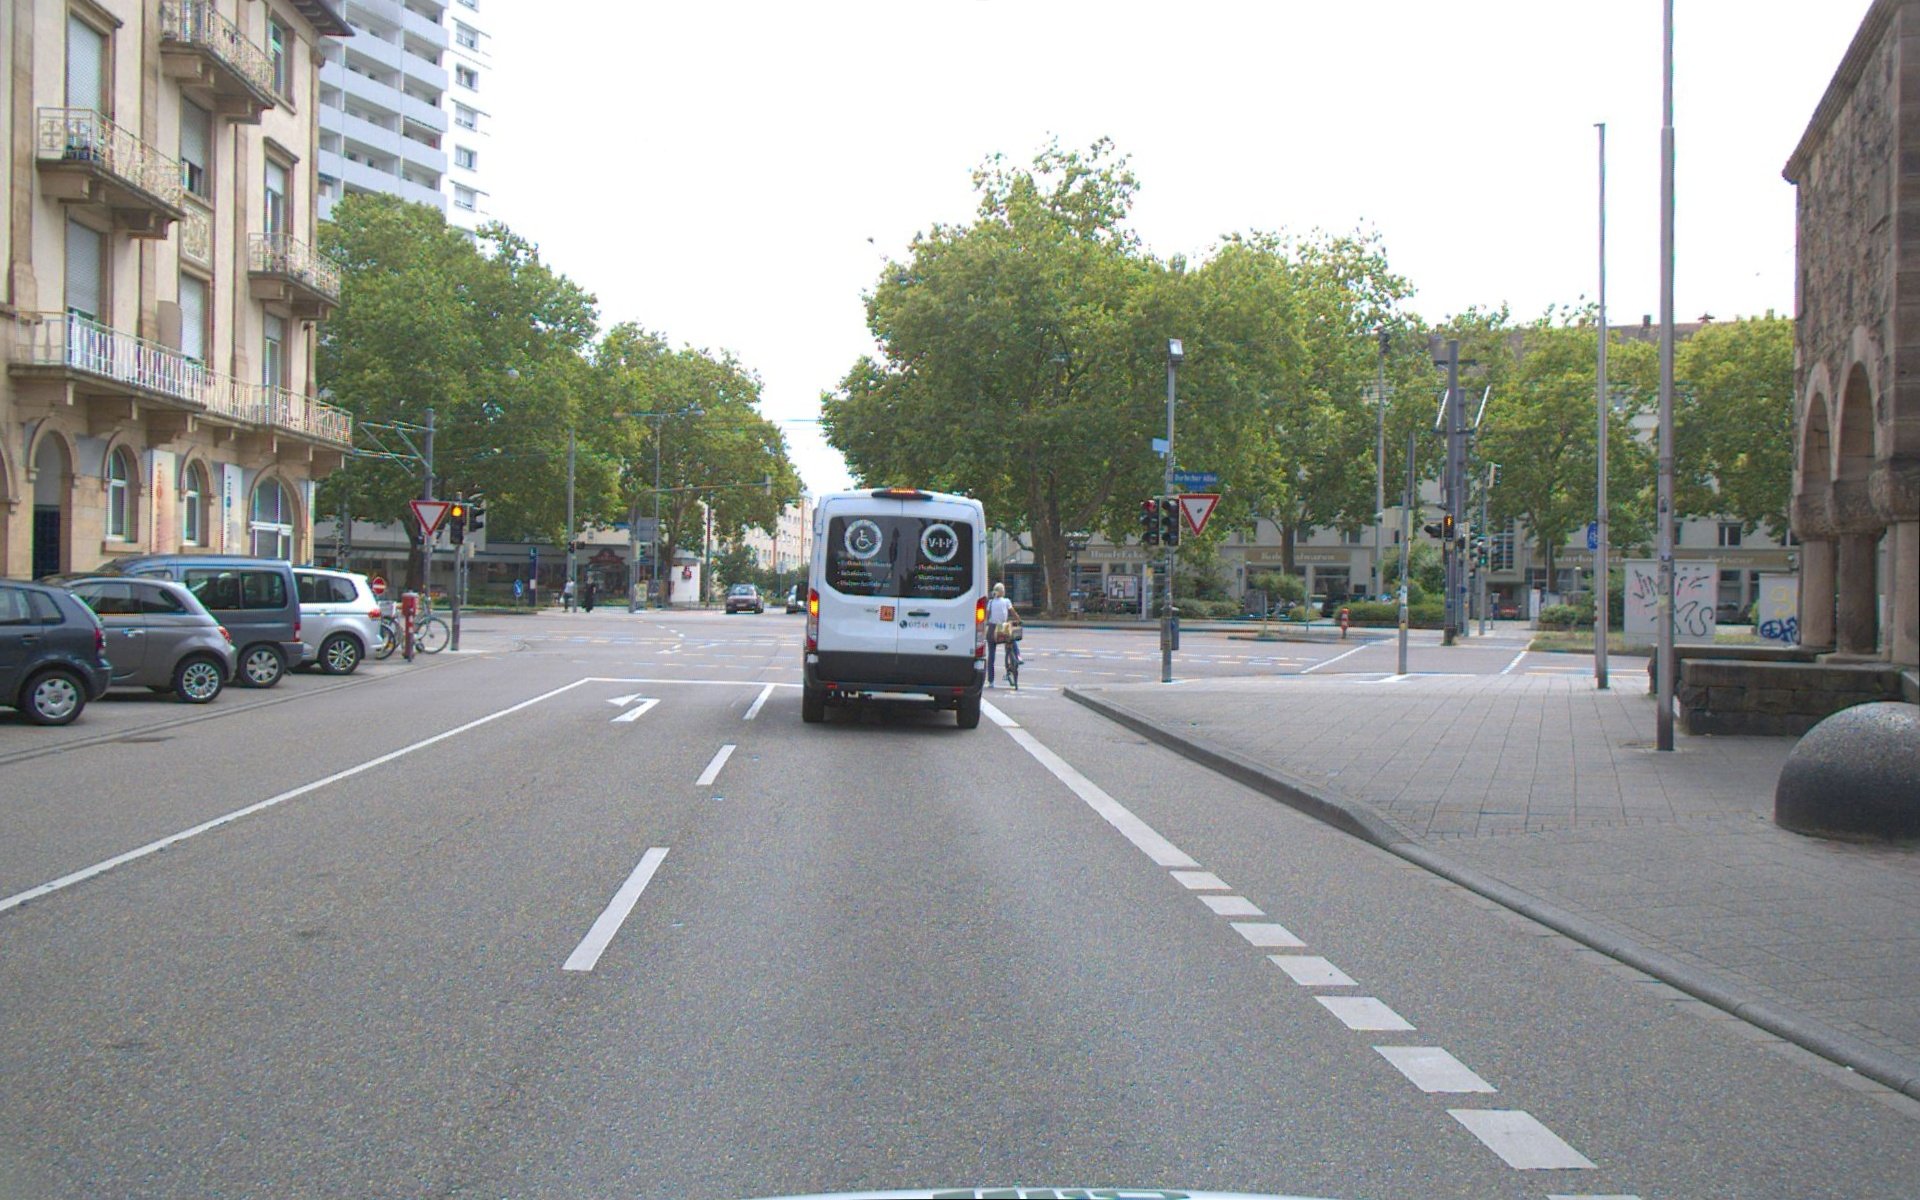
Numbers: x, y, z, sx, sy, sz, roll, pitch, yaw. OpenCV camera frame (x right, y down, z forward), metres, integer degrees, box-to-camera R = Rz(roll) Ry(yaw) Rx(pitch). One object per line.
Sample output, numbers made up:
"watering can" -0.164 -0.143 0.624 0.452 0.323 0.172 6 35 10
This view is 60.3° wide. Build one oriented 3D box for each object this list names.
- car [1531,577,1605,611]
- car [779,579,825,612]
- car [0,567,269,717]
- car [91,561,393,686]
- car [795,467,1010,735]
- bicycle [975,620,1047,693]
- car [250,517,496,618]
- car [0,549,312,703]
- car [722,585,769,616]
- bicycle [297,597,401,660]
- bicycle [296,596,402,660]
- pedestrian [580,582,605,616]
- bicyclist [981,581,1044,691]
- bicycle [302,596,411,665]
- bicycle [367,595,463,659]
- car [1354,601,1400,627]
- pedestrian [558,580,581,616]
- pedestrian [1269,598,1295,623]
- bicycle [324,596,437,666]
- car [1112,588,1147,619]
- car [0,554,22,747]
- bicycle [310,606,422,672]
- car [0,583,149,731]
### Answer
"car" 34.921 -0.337 95.022 3.904 1.916 1.857 0 0 21
"car" -7.870 -0.236 82.658 1.697 1.620 4.002 0 0 4
"car" -10.651 0.468 19.868 3.980 1.680 1.768 0 0 -43
"car" -11.151 0.335 25.830 3.980 1.804 1.768 0 0 -43
"car" -0.797 -0.021 19.427 2.139 2.694 4.623 2 1 -5
"bicycle" 0.800 0.886 26.609 0.885 1.094 1.967 1 0 -7
"car" -24.375 -1.347 68.691 9.681 3.984 3.455 1 0 21
"car" -11.134 0.325 22.472 3.980 1.911 1.768 0 0 -43
"car" -10.738 -0.015 83.050 1.587 1.502 4.002 0 0 4
"bicycle" -11.849 0.554 32.110 1.777 1.140 0.592 3 -1 -12
"bicycle" -11.595 0.530 31.431 1.777 1.140 0.592 3 -1 -12
"pedestrian" -16.808 -0.056 75.686 0.909 1.541 0.724 1 0 10
"bicyclist" 0.827 0.567 26.422 0.886 1.713 0.755 1 0 -7
"bicycle" -11.233 0.562 30.844 1.777 1.186 0.592 3 -1 -12
"bicycle" -10.979 0.542 33.294 1.836 1.187 0.498 3 -1 17
"car" 26.178 0.868 104.008 1.952 1.529 4.000 0 0 1
"pedestrian" -17.869 -0.094 75.671 0.790 1.600 0.724 1 0 10
"pedestrian" 16.652 0.550 85.494 1.069 1.257 1.441 -1 -1 0
"bicycle" -10.562 0.561 30.153 1.772 1.139 0.594 4 0 0
"car" 11.200 0.226 109.302 1.952 1.964 4.000 0 0 1
"car" -10.193 0.422 13.938 3.743 1.680 1.699 0 0 -41
"bicycle" -10.572 0.687 29.480 1.771 1.140 0.594 0 0 2
"car" -10.565 0.559 16.822 3.867 1.469 1.811 0 0 -40
